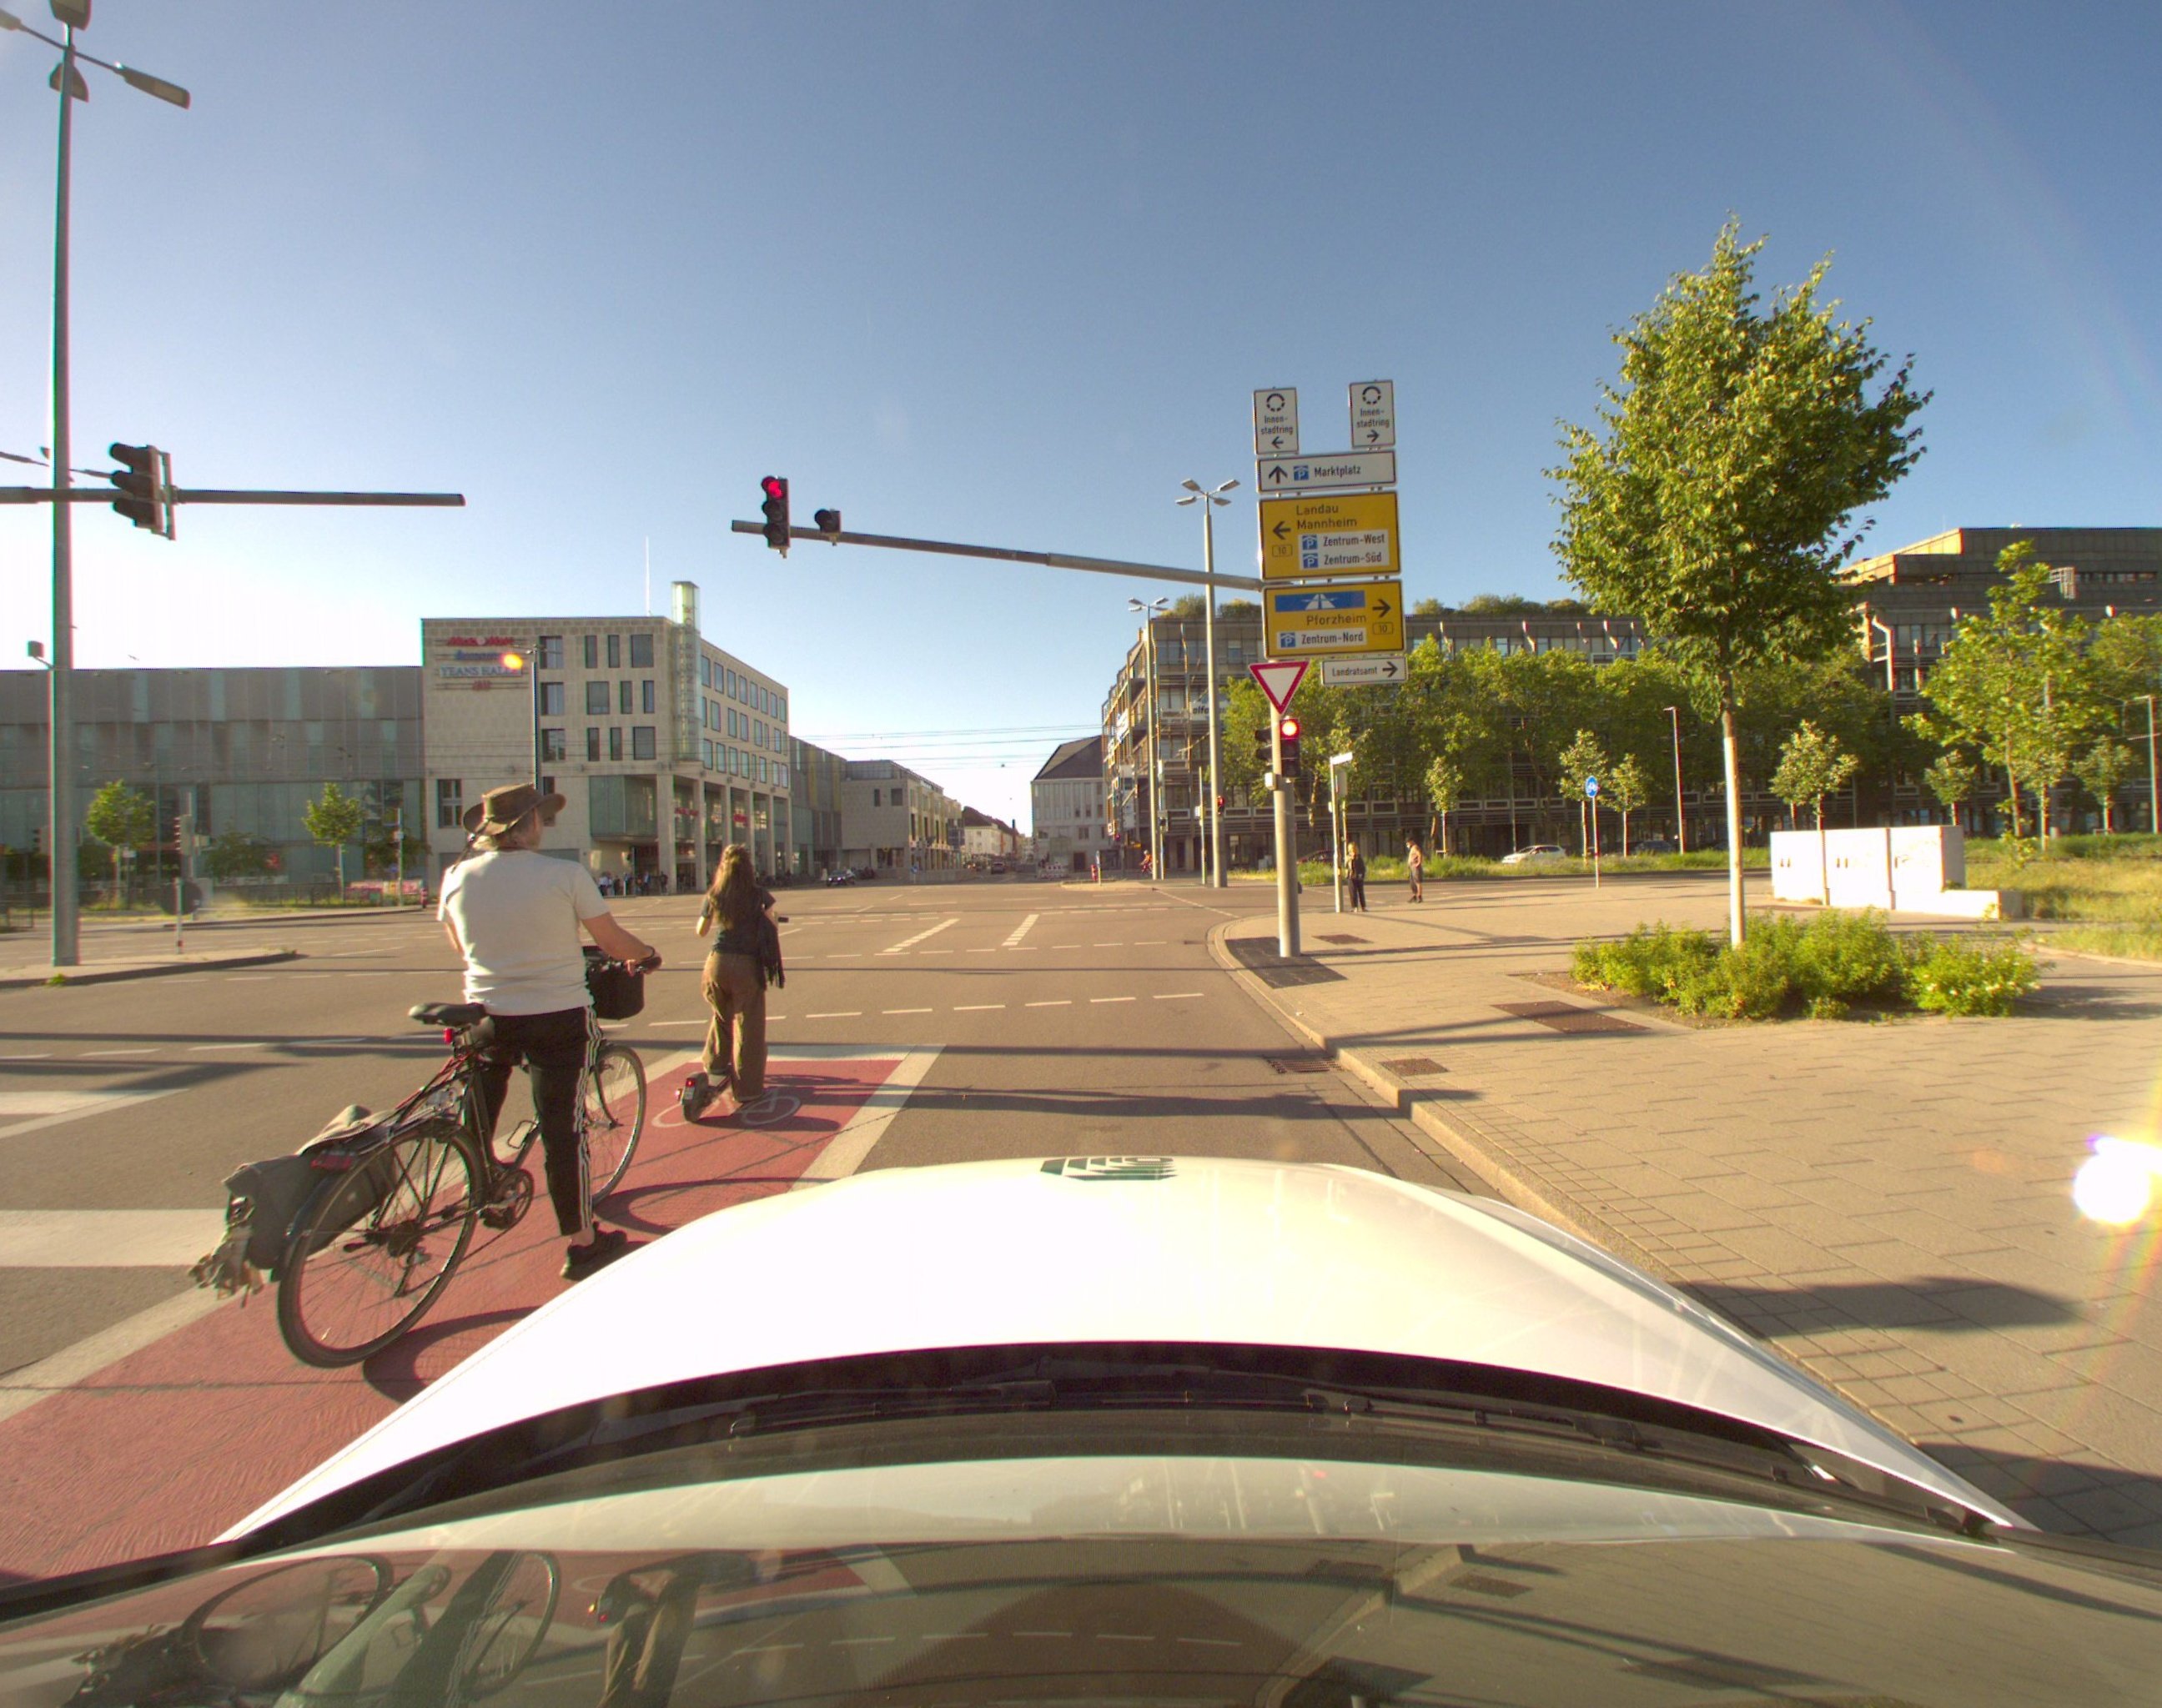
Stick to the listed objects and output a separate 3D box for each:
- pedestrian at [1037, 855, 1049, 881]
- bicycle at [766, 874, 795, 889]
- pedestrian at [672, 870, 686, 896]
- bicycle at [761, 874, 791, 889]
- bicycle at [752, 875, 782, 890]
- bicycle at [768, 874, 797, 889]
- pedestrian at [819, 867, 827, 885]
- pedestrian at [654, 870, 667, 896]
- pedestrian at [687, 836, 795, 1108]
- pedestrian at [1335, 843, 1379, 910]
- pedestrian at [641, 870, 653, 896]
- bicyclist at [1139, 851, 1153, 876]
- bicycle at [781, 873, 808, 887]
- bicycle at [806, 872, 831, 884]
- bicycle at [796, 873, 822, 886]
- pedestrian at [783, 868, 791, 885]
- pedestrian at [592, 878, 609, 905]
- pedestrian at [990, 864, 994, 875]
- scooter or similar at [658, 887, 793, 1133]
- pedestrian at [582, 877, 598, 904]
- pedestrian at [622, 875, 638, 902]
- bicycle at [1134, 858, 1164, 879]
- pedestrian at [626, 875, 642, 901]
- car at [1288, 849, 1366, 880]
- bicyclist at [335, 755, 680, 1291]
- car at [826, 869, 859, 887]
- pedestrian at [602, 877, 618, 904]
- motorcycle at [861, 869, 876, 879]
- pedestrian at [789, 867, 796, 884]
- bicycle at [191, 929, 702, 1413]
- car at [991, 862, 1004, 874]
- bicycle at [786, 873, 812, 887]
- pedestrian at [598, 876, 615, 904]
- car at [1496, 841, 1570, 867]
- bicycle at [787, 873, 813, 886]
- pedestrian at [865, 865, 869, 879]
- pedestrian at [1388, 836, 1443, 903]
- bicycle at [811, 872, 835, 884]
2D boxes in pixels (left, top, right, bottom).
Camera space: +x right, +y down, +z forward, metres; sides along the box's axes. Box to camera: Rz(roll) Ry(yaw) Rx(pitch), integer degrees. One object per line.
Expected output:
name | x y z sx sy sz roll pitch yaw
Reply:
pedestrian | -2.861 1.048 60.865 0.637 1.890 0.794 -1 -1 16
bicycle | -26.567 2.428 72.010 2.299 1.222 0.612 -2 -1 -1
pedestrian | -29.108 2.066 58.939 0.801 1.843 0.855 -2 0 -30
bicycle | -26.464 2.416 70.650 2.299 1.222 0.612 -2 -1 -1
bicycle | -26.736 2.407 69.373 2.299 1.222 0.612 -2 -1 -1
bicycle | -26.742 2.436 72.895 2.299 1.222 0.612 -2 -1 -1
pedestrian | -25.693 2.215 81.165 0.650 1.719 0.447 -2 0 -22
pedestrian | -30.795 2.118 59.665 0.800 1.843 0.856 -2 0 -26
pedestrian | -2.168 0.709 5.241 0.549 1.633 0.569 0 -1 -13
pedestrian | 6.305 0.503 18.652 0.785 1.492 0.644 0 -1 1
pedestrian | -31.086 2.070 58.305 0.718 1.885 0.781 0 -1 -25
bicyclist | 3.714 0.530 46.335 0.710 1.437 0.496 0 -1 -7
bicycle | -26.698 2.461 75.962 2.299 1.222 0.612 -2 -1 -1
bicycle | -27.589 2.547 85.580 2.299 1.222 0.612 -2 -1 -1
bicycle | -27.186 2.509 81.342 2.299 1.222 0.612 -2 -1 -1
pedestrian | -29.569 2.230 81.918 0.570 1.679 0.614 0 0 -8
pedestrian | -33.871 2.613 57.372 0.783 1.885 0.716 0 -1 -4
pedestrian | -12.840 2.238 117.737 0.520 1.679 0.582 0 0 -5
scooter or similar | -2.162 0.874 5.072 0.547 1.294 1.188 0 -1 -13
pedestrian | -35.152 2.598 58.313 0.783 1.885 0.716 0 -1 -4
pedestrian | -31.949 2.451 57.691 0.783 1.885 0.716 0 -1 -4
bicycle | 3.847 0.806 46.347 1.643 1.154 0.496 0 -1 -8
pedestrian | -32.515 2.468 59.243 0.783 1.885 0.716 0 -1 -4
car | 13.890 0.570 46.038 3.880 1.585 1.656 -2 -1 -6
bicyclist | -2.061 0.546 3.058 0.658 1.720 0.866 0 -1 1
car | -20.626 2.050 70.506 1.625 1.342 3.999 -4 -1 0
pedestrian | -33.959 2.625 58.723 0.714 1.885 0.786 0 -1 -6
motorcycle | -25.782 2.429 98.738 1.807 1.206 0.509 0 0 -14
pedestrian | -29.088 2.207 82.017 0.553 1.679 0.606 0 0 -8
bicycle | -2.153 0.946 3.135 0.483 1.156 1.832 0 -1 2
car | -11.137 1.856 108.653 1.735 1.531 3.848 0 -1 -5
bicycle | -27.064 2.482 78.130 2.299 1.222 0.612 -2 -1 -1
pedestrian | -34.833 2.668 59.784 0.883 2.014 0.771 0 -1 -9
car | 28.796 -0.005 51.951 3.892 1.585 1.656 0 -1 -5
bicycle | -27.631 2.502 80.125 2.299 1.222 0.612 -2 -1 -1
pedestrian | -26.102 2.190 99.354 0.521 1.679 0.580 0 0 -12
pedestrian | 8.618 0.395 21.015 0.881 1.665 0.958 0 -1 -19
bicycle | -27.425 2.554 86.646 2.299 1.222 0.612 -2 -1 -1
